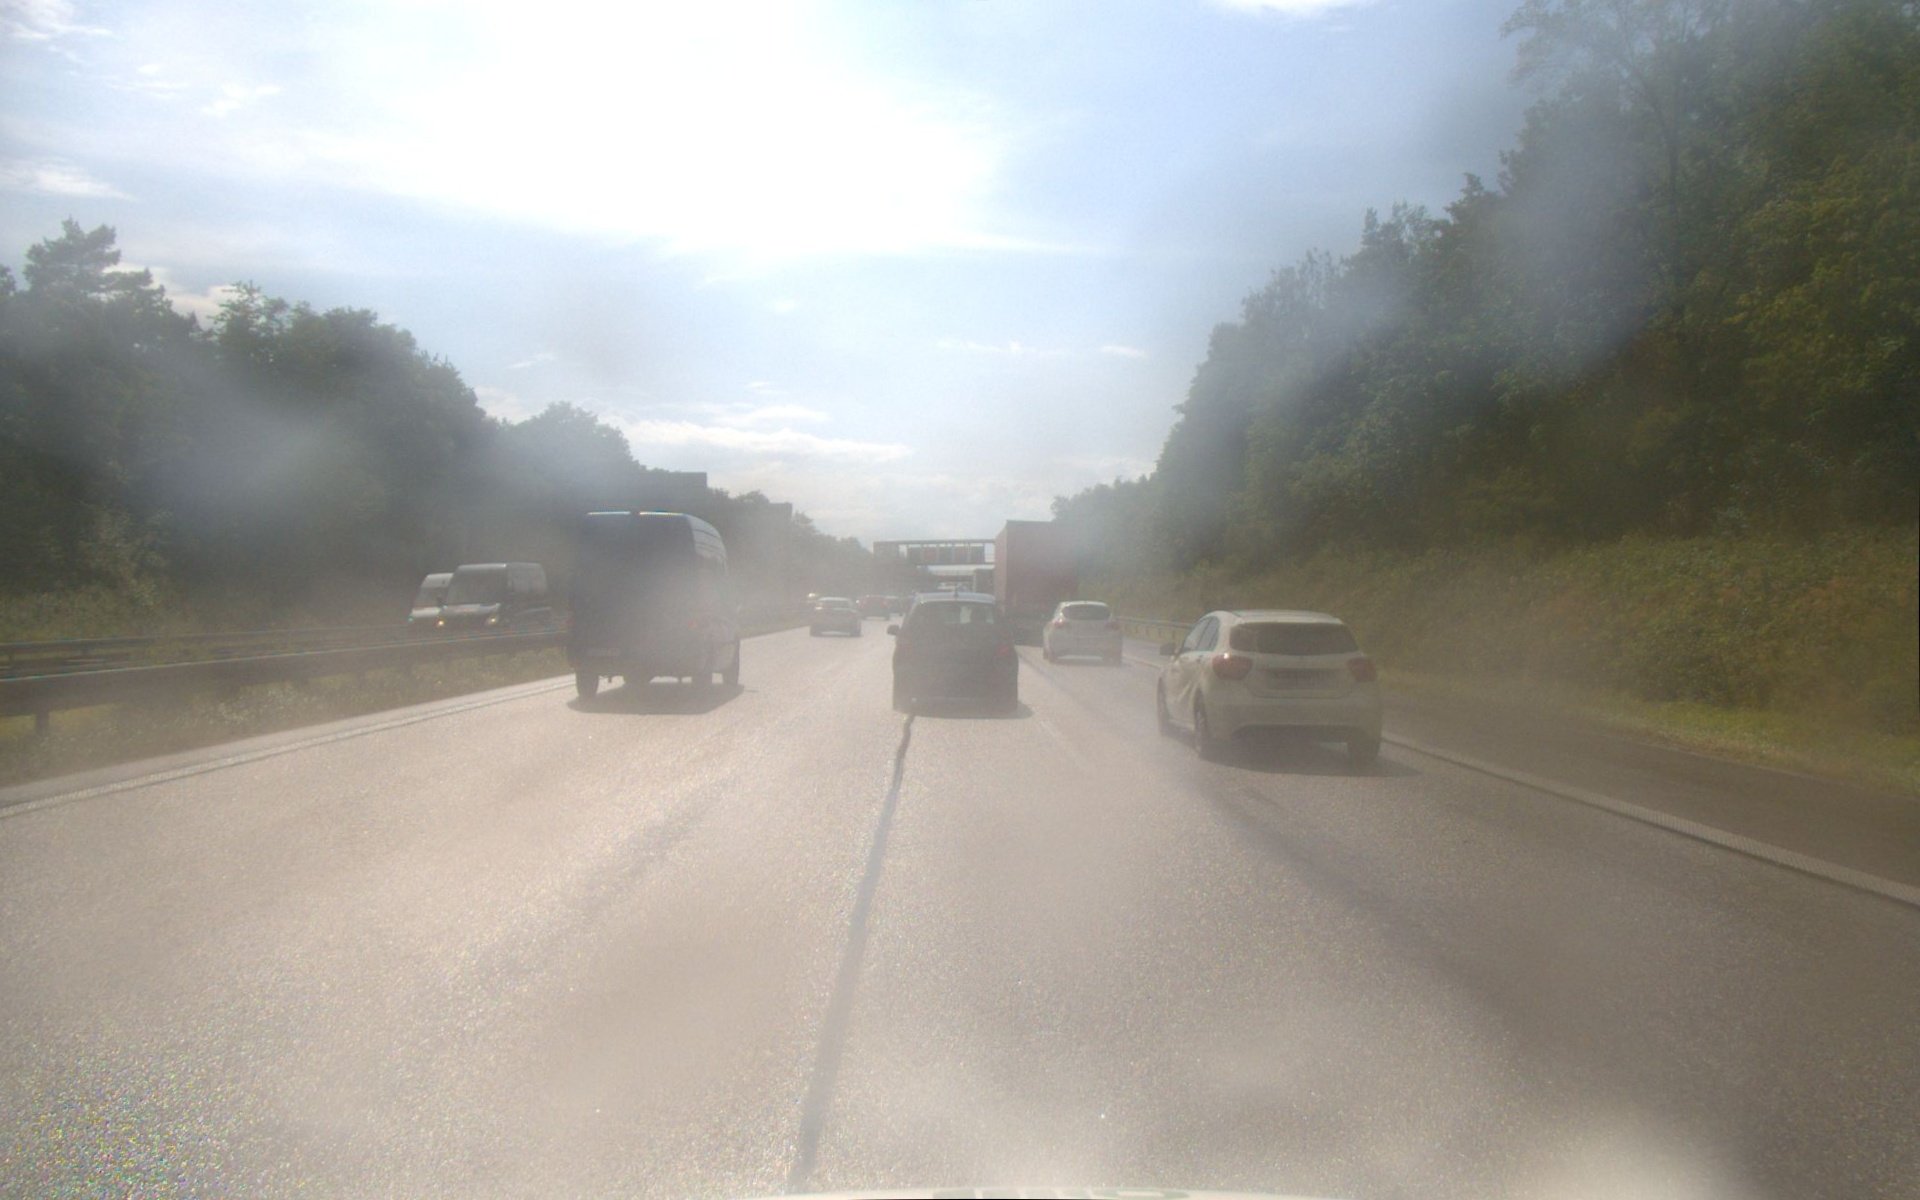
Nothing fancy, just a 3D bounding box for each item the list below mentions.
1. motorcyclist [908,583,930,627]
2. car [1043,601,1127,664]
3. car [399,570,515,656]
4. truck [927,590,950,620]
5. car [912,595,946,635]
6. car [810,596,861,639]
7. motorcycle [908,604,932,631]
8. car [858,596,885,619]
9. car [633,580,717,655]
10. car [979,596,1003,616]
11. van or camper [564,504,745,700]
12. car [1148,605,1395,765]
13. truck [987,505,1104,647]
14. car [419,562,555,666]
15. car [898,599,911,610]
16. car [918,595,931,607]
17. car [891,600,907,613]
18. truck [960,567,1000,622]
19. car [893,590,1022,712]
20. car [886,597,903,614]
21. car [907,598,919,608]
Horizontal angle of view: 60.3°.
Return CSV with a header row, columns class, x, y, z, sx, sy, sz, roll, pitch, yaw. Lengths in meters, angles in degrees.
class,x,y,z,sx,sy,sz,roll,pitch,yaw
motorcyclist,-1.565,0.180,63.193,0.785,1.662,1.013,1,0,-2
car,3.038,0.774,40.912,1.647,1.467,3.903,1,0,-2
car,-18.222,0.444,60.357,2.217,2.920,6.787,1,0,-1
truck,-2.155,0.470,167.166,2.148,2.926,4.847,1,0,-2
car,-1.437,0.691,76.194,1.501,1.777,3.483,1,0,-2
car,-4.849,0.669,64.792,1.817,1.578,3.483,1,0,-2
motorcycle,-1.548,0.652,63.236,0.873,1.018,2.895,1,0,-2
car,-5.954,0.486,111.958,1.716,1.482,3.388,1,0,-2
car,-10.096,0.596,59.060,2.139,2.495,5.745,1,0,-2
car,2.213,0.406,119.082,1.521,1.407,3.208,1,0,-2
van or camper,-4.627,0.038,25.835,1.953,2.715,5.382,1,0,-2
car,3.130,0.797,17.421,1.658,1.450,4.218,1,0,-2
truck,3.045,-0.795,64.773,3.575,4.803,16.777,1,0,0
car,-14.308,0.418,50.519,2.217,2.920,6.888,1,0,-1
car,-6.563,0.544,194.440,1.518,1.289,3.483,1,0,-2
car,-5.353,0.179,250.369,1.953,1.759,3.999,0,0,-1
car,-6.045,0.617,163.264,1.518,1.289,3.483,1,0,-2
truck,1.683,-0.440,145.165,3.189,4.558,12.419,1,0,0
car,-0.089,0.678,23.622,1.683,1.595,3.483,1,0,-2
car,-5.490,0.442,138.650,1.431,1.418,3.310,1,0,-2
car,-5.945,0.396,209.961,1.518,1.289,3.483,1,0,-2
